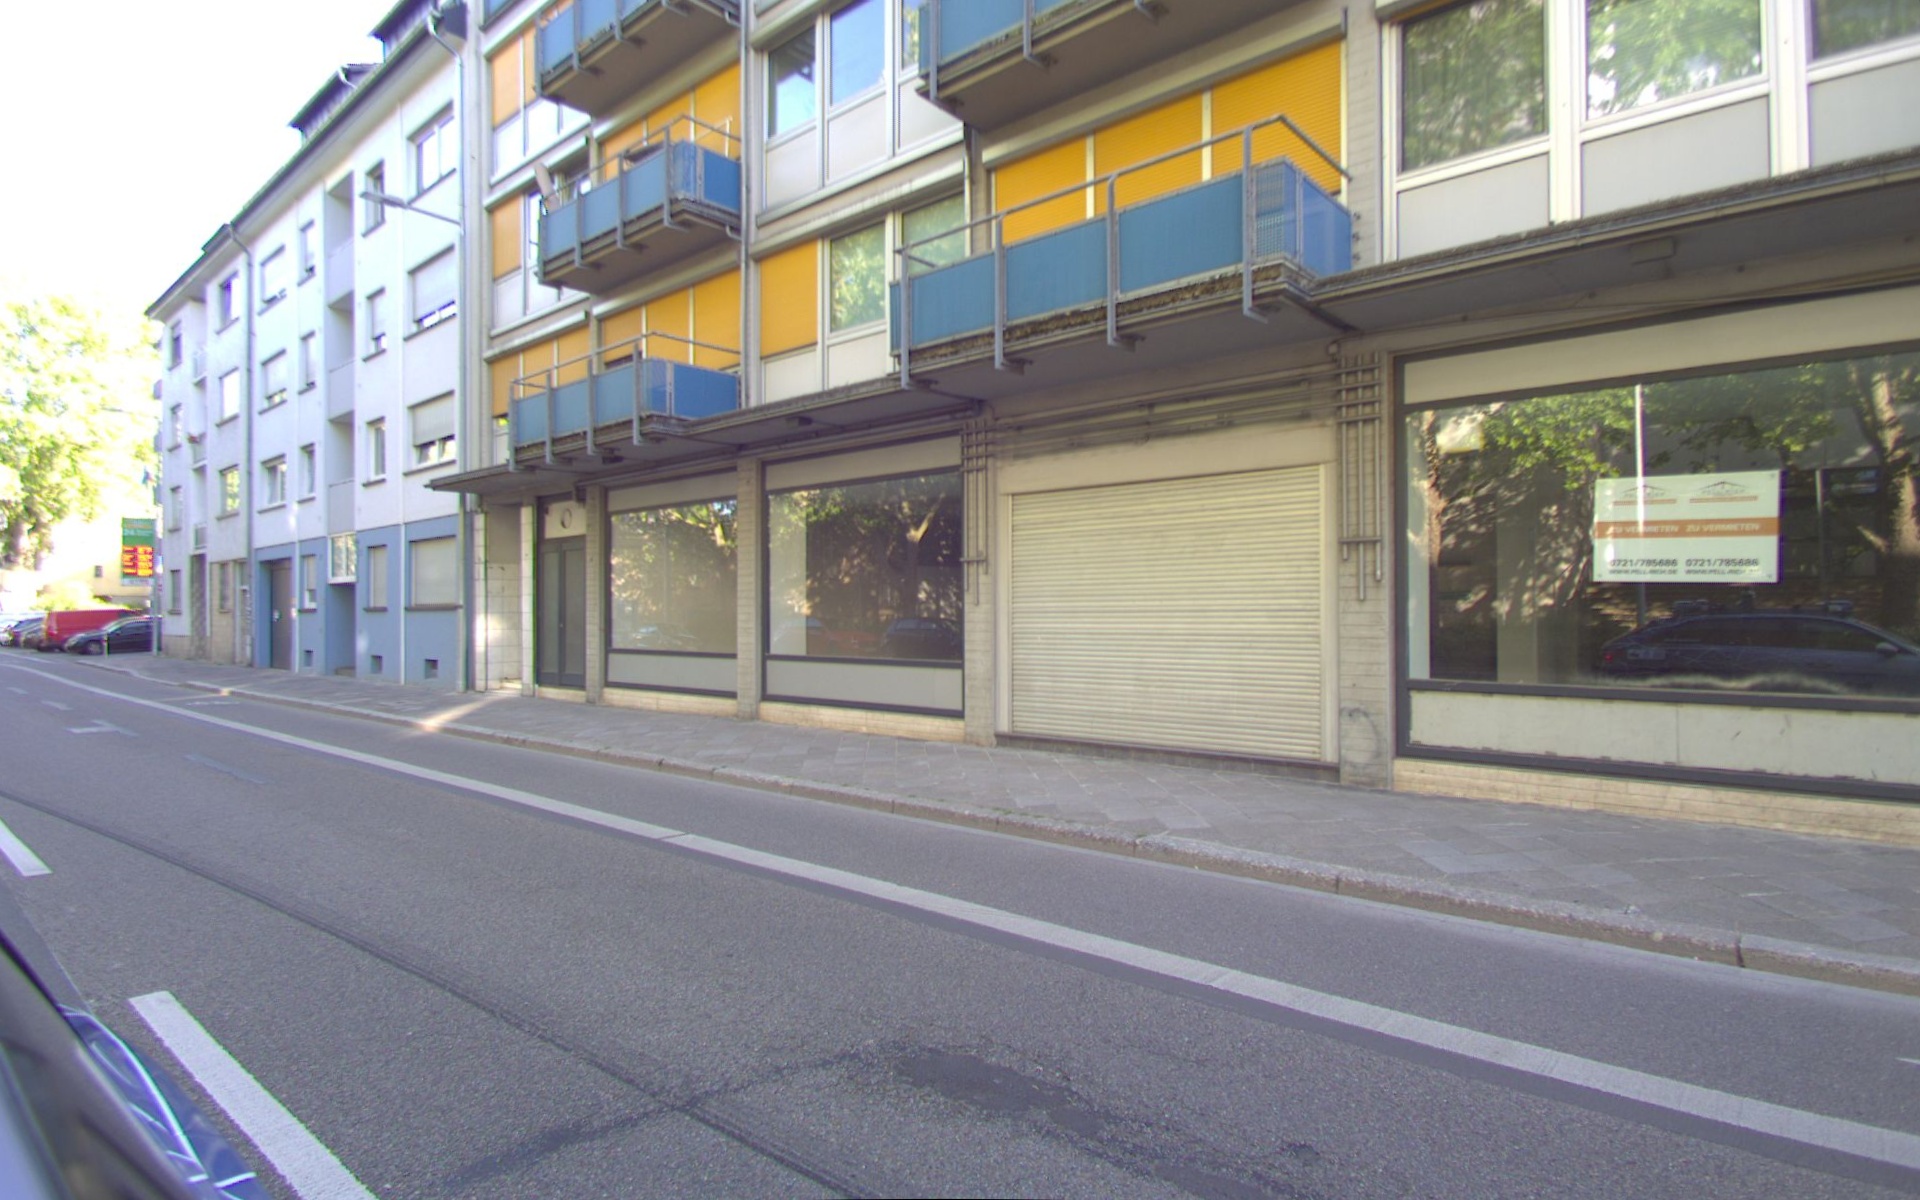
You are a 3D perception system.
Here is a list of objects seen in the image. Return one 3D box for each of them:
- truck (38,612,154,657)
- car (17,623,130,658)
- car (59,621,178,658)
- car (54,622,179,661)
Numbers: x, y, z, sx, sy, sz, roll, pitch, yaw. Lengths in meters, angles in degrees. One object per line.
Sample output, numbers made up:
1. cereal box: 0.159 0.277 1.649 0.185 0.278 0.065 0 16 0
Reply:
1. truck: -40.498 1.577 47.487 1.761 1.951 3.944 -1 0 42
2. car: -42.908 1.909 49.034 1.761 1.514 3.944 -1 0 42
3. car: -38.107 1.764 45.896 1.761 1.514 3.944 -1 0 42
4. car: -36.626 1.768 44.008 1.761 1.468 3.944 -1 0 42
